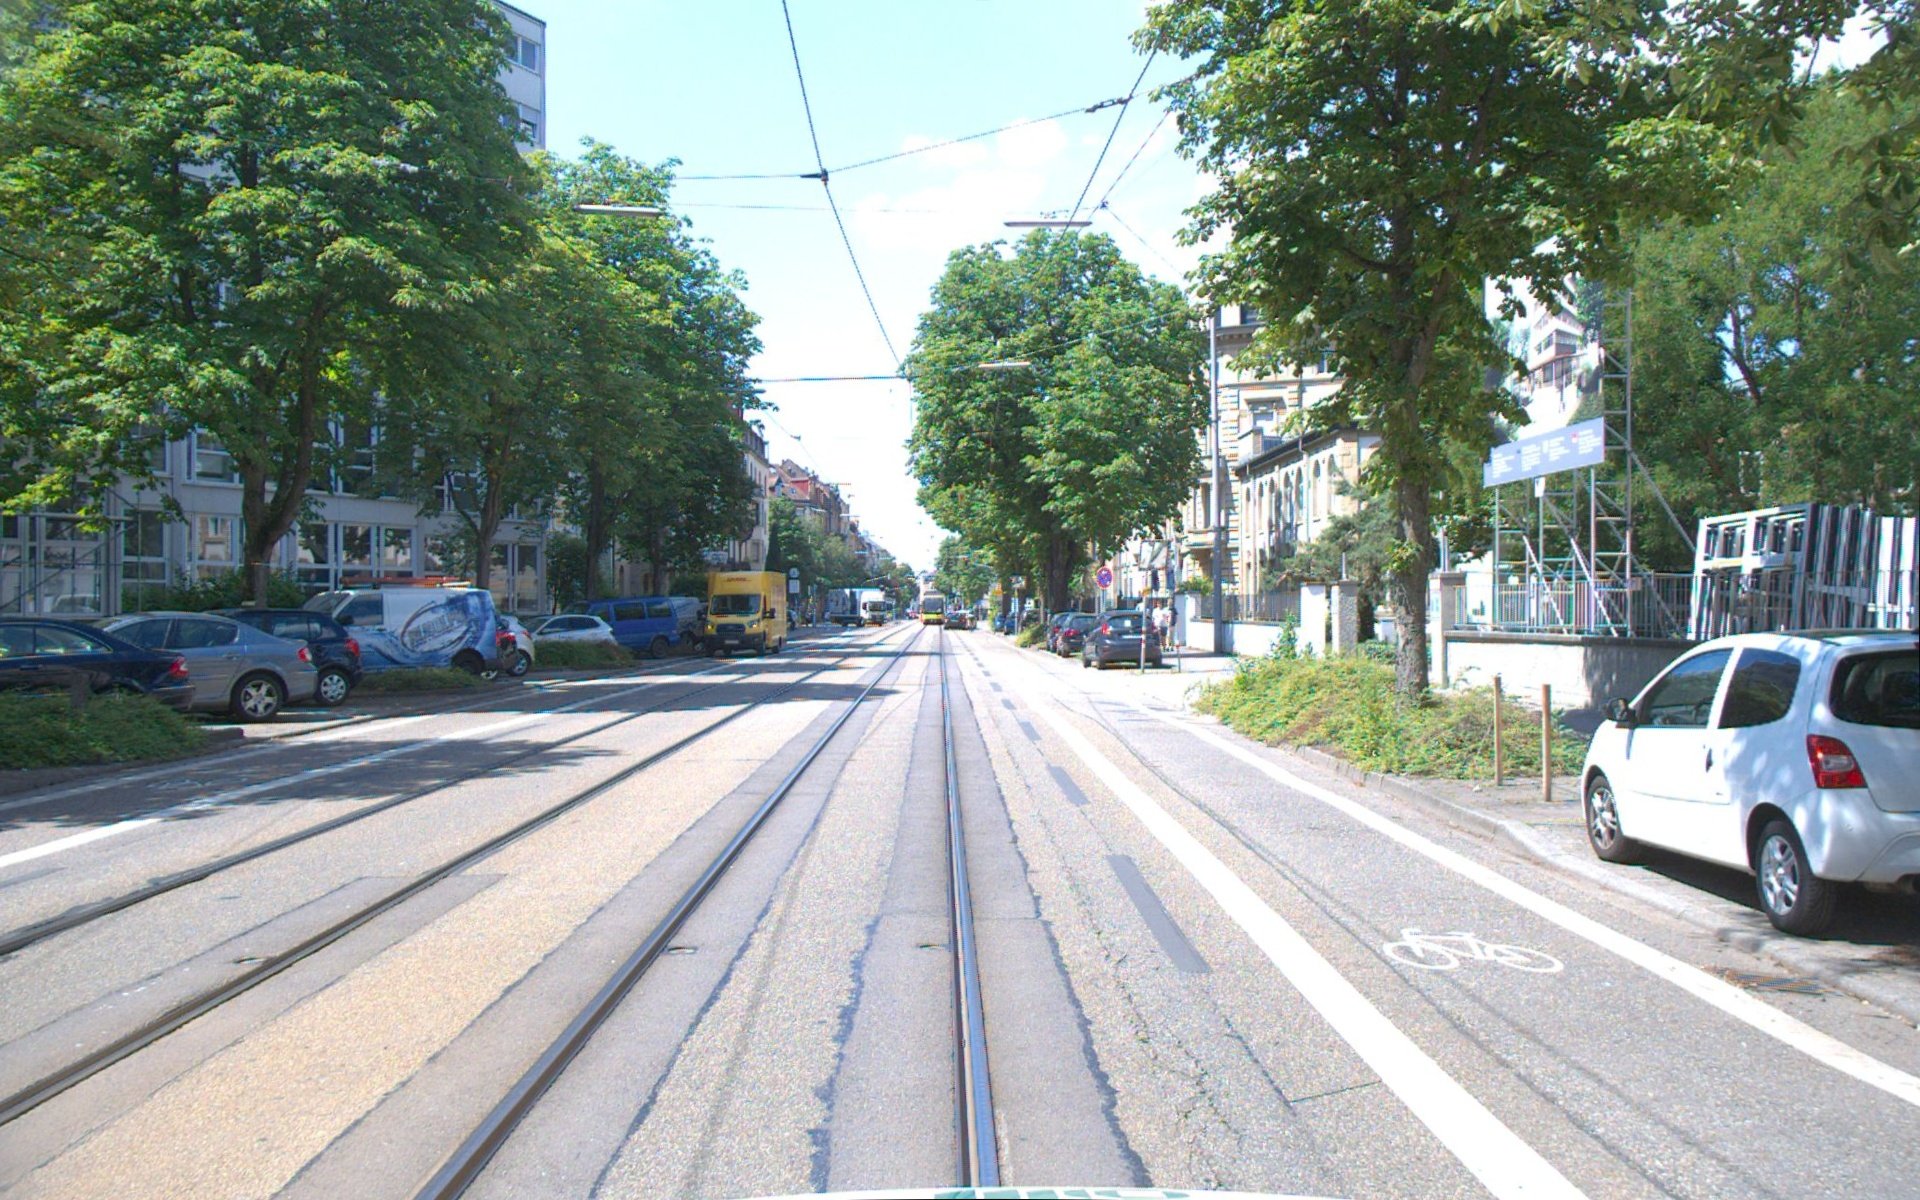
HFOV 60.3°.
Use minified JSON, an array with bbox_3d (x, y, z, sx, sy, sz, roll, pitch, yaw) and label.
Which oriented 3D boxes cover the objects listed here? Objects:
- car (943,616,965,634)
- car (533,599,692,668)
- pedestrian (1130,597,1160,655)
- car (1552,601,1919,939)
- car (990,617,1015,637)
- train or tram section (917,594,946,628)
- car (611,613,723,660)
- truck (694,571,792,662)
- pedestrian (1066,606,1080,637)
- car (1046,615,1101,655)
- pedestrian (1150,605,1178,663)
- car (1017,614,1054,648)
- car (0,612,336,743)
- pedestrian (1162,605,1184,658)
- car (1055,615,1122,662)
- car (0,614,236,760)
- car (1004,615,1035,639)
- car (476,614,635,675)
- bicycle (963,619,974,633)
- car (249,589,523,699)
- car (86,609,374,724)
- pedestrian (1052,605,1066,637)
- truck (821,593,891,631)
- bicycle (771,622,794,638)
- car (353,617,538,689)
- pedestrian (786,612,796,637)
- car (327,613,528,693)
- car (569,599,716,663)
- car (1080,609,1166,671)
[{"bbox_3d":[-0.492,1.939,129.491,1.745,1.369,3.415,0,-1,-1],"label":"car"},{"bbox_3d":[-10.907,1.025,52.166,1.815,1.990,4.701,-2,-1,43],"label":"car"},{"bbox_3d":[6.164,0.869,55.204,0.794,1.892,0.575,-1,-1,32],"label":"pedestrian"},{"bbox_3d":[4.889,0.791,9.562,1.610,1.561,3.785,0,0,0],"label":"car"},{"bbox_3d":[3.116,1.999,121.970,1.676,1.448,4.308,-1,-1,-1],"label":"car"},{"bbox_3d":[-3.049,1.179,178.159,2.973,3.499,11.968,0,0,0],"label":"train or tram section"},{"bbox_3d":[-10.938,1.357,61.903,1.717,1.628,3.893,-2,-1,43],"label":"car"},{"bbox_3d":[-7.408,0.561,57.316,2.312,2.902,7.378,-1,0,1],"label":"truck"},{"bbox_3d":[6.914,1.311,101.422,0.792,1.892,0.623,0,-2,-3],"label":"pedestrian"},{"bbox_3d":[4.236,1.301,62.169,1.676,1.448,4.242,-1,-1,-1],"label":"car"},{"bbox_3d":[6.725,1.108,54.537,0.710,1.892,0.575,-1,-1,31],"label":"pedestrian"},{"bbox_3d":[3.820,1.573,84.143,1.560,1.645,3.906,-1,-1,-1],"label":"car"},{"bbox_3d":[-10.824,0.978,22.274,4.168,1.533,1.845,-1,-1,-42],"label":"car"},{"bbox_3d":[7.174,1.049,55.735,0.606,1.768,0.478,-2,-1,21],"label":"pedestrian"},{"bbox_3d":[4.277,1.280,55.699,1.838,1.480,4.527,-1,-1,-1],"label":"car"},{"bbox_3d":[-10.567,0.979,19.078,1.731,1.533,3.687,-2,-1,42],"label":"car"},{"bbox_3d":[3.687,1.707,103.564,1.676,1.448,4.308,-1,-1,-1],"label":"car"},{"bbox_3d":[-11.107,1.220,45.635,1.730,1.458,3.978,-4,-1,41],"label":"car"},{"bbox_3d":[0.588,1.823,115.424,0.626,0.986,1.780,1,-2,-2],"label":"bicycle"},{"bbox_3d":[-11.107,0.811,32.255,1.887,1.968,4.729,-3,-1,41],"label":"car"},{"bbox_3d":[-11.085,0.960,25.272,1.663,1.571,3.685,-2,-1,43],"label":"car"},{"bbox_3d":[6.042,1.291,100.751,0.792,1.892,0.623,0,-2,-3],"label":"pedestrian"},{"bbox_3d":[-10.308,1.165,163.347,2.917,3.613,8.342,0,0,-36],"label":"truck"},{"bbox_3d":[-11.016,1.865,102.732,0.532,0.986,1.778,0,-2,29],"label":"bicycle"},{"bbox_3d":[-11.774,1.202,37.968,1.732,1.493,3.685,-3,-1,43],"label":"car"},{"bbox_3d":[-11.484,1.658,112.412,0.561,1.644,0.816,0,-1,0],"label":"pedestrian"},{"bbox_3d":[-11.336,1.105,35.349,1.786,1.533,3.686,-3,-1,43],"label":"car"},{"bbox_3d":[-11.170,1.080,58.386,4.718,2.098,1.997,-1,-1,-40],"label":"car"},{"bbox_3d":[4.210,1.035,43.267,1.606,1.511,3.869,-1,-1,-4],"label":"car"}]
